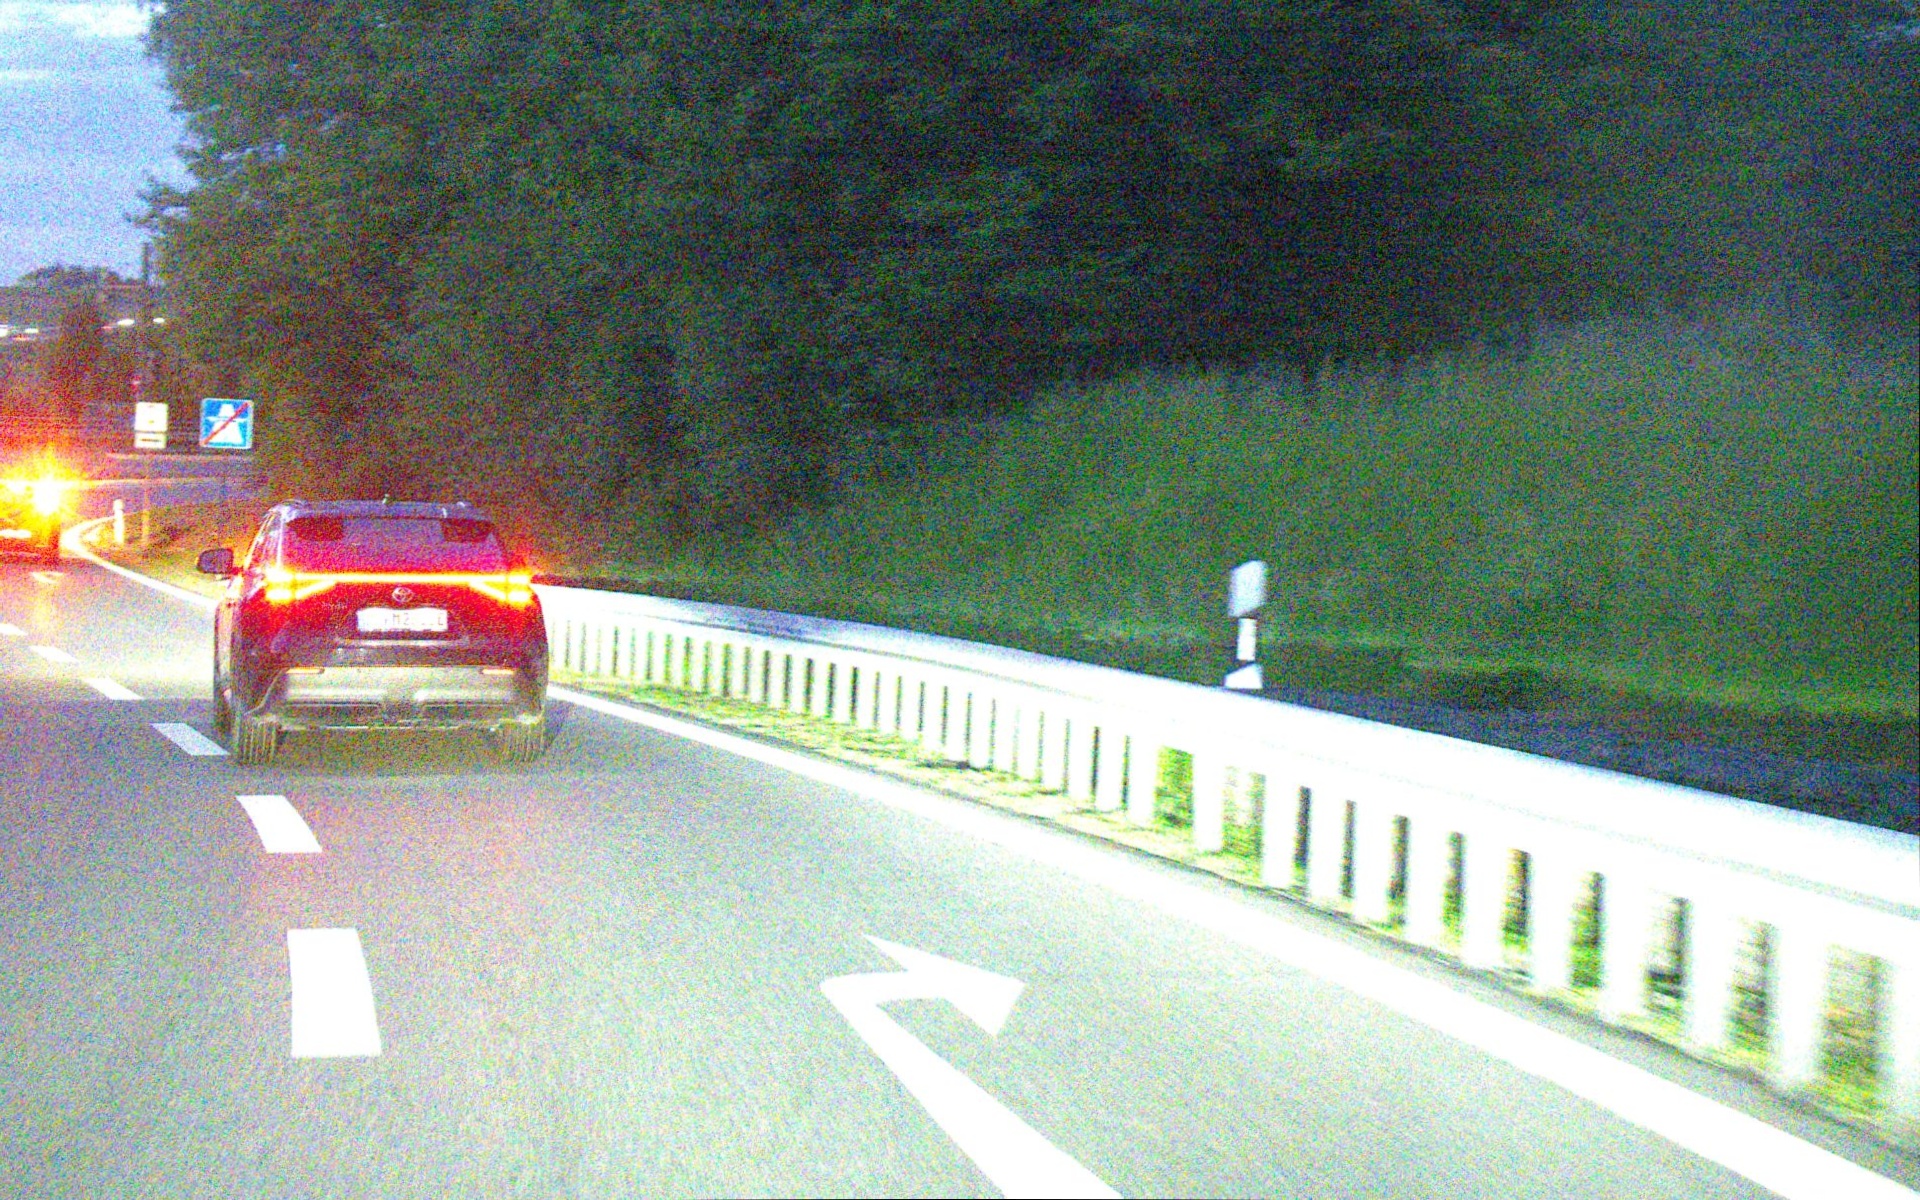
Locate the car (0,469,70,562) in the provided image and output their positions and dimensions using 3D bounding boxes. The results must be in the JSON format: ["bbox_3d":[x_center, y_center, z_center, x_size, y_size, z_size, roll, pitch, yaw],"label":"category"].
[{"bbox_3d":[-17.577,-1.565,63.927,1.780,1.647,4.001,2,0,-17],"label":"car"}]

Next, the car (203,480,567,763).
[{"bbox_3d":[-3.789,0.060,22.043,1.900,1.614,4.558,0,2,-15],"label":"car"}]
